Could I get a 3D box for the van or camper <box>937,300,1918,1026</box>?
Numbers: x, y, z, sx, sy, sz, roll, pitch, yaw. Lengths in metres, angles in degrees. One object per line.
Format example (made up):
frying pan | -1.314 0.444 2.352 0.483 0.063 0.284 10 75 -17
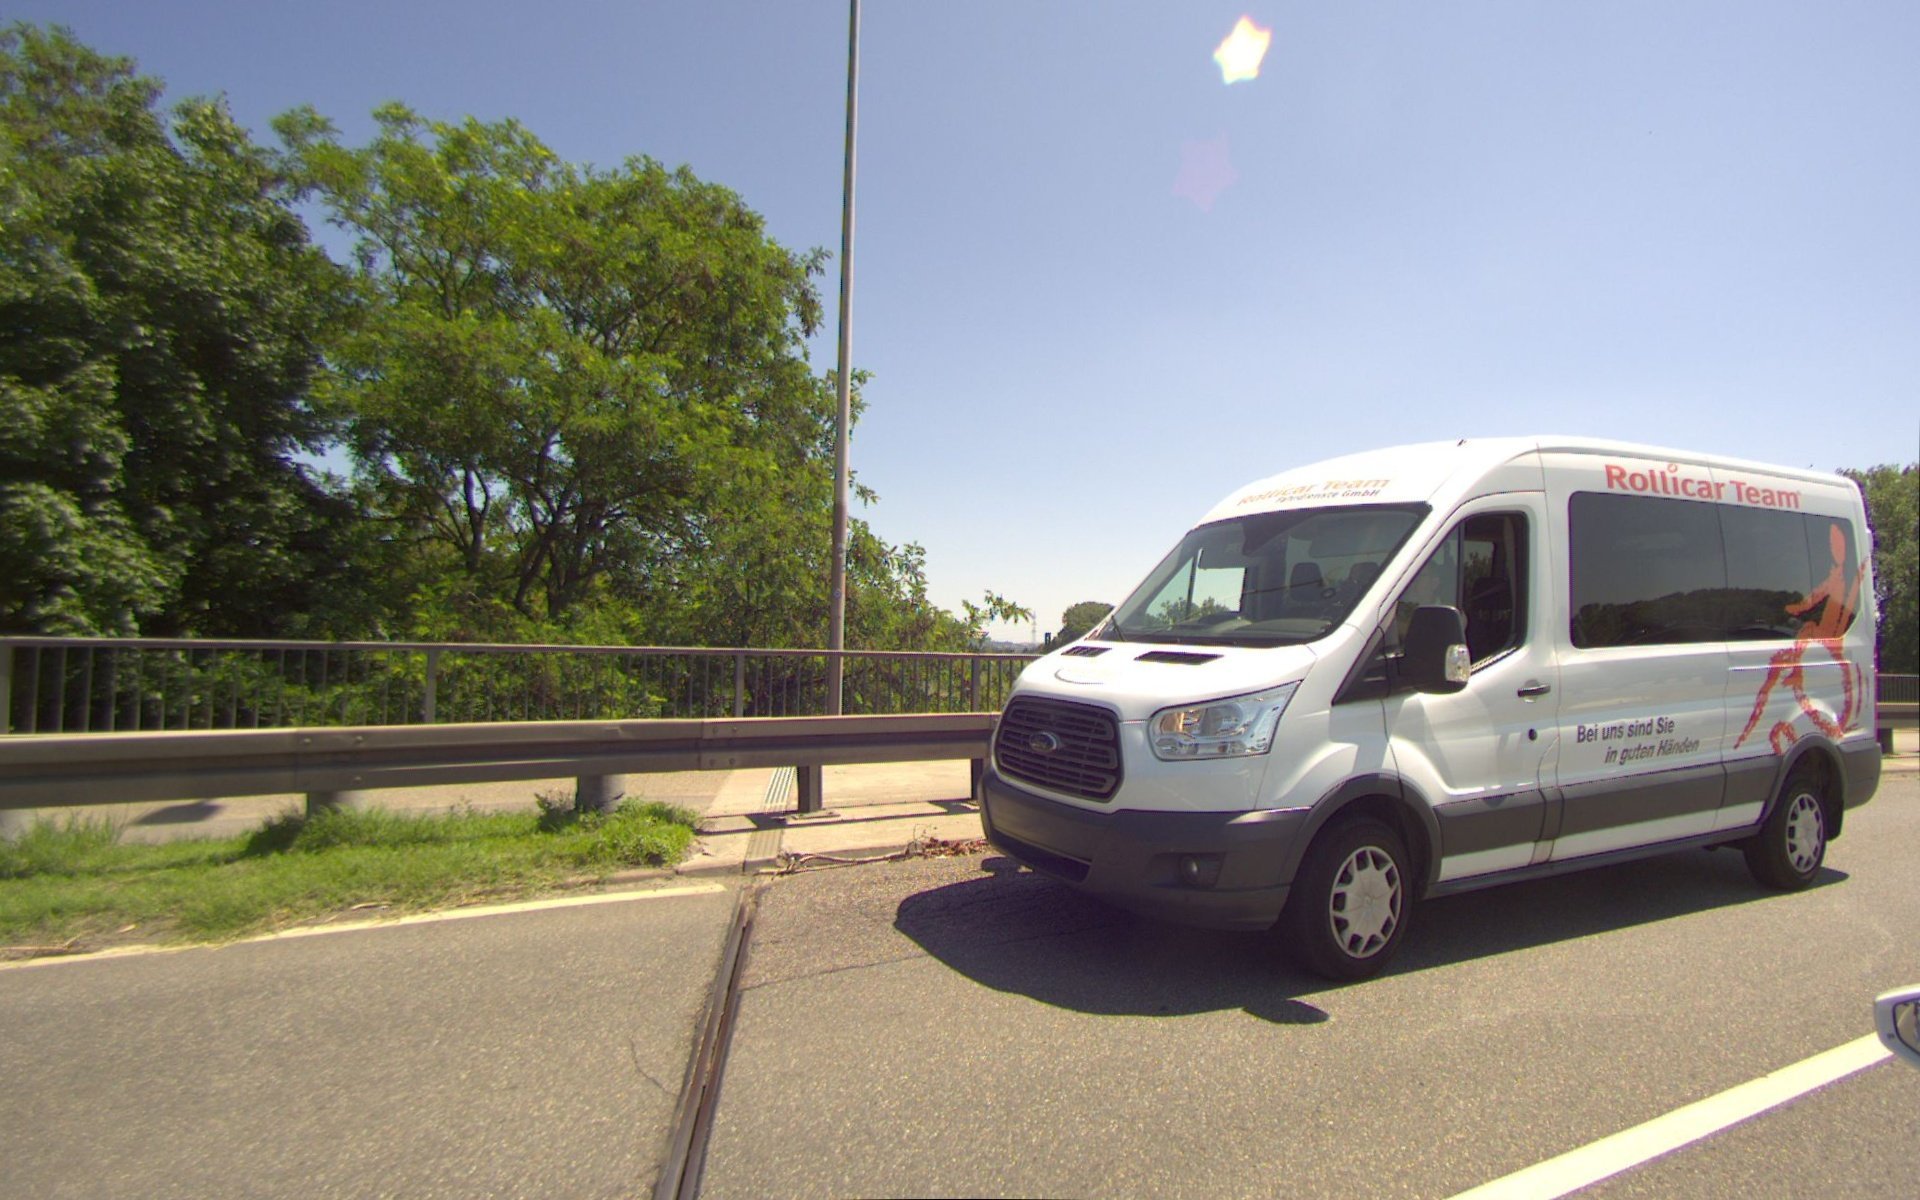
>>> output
van or camper | 2.939 0.326 5.828 5.809 2.571 2.040 2 -1 -28
